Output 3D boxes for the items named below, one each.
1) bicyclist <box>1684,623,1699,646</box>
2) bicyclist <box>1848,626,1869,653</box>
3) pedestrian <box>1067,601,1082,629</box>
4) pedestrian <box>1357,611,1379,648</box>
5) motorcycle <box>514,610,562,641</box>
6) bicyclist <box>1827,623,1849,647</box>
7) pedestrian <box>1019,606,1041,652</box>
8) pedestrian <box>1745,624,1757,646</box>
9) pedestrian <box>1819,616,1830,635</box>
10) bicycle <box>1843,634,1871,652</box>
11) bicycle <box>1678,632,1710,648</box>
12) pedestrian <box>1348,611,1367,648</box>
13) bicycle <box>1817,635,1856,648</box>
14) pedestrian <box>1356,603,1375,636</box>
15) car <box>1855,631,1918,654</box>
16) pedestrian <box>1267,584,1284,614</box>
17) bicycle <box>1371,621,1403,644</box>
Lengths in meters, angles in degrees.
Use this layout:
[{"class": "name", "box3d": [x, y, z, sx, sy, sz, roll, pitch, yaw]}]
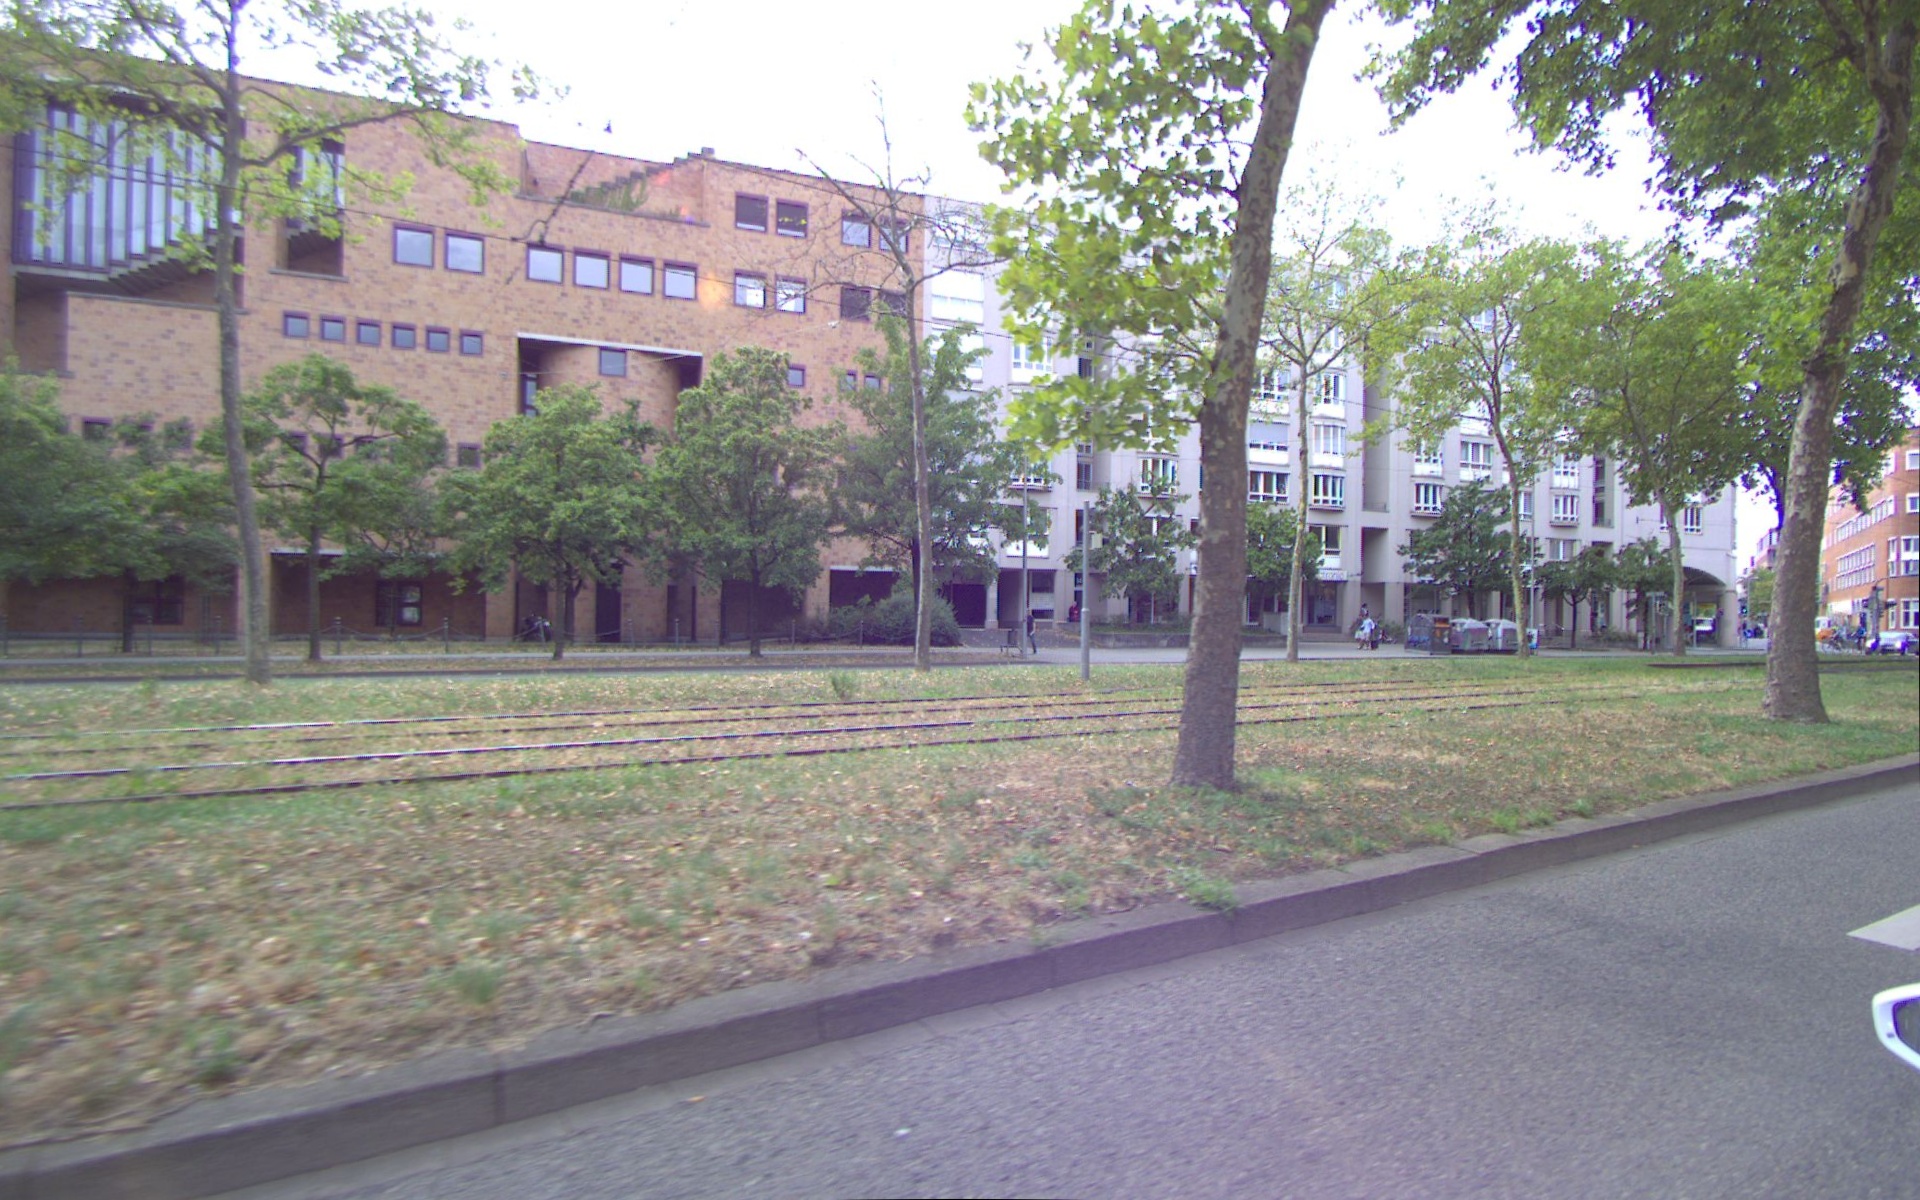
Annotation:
[{"class": "bicyclist", "box3d": [54.185, 2.554, 74.376, 0.769, 1.695, 0.573, 1, 0, 22]}, {"class": "bicyclist", "box3d": [57.966, 2.533, 64.816, 0.940, 1.695, 0.688, 1, 0, -25]}, {"class": "pedestrian", "box3d": [5.579, 0.723, 49.035, 0.546, 1.340, 0.456, 1, 0, -21]}, {"class": "pedestrian", "box3d": [19.239, 1.395, 47.377, 0.873, 1.728, 0.550, 1, 0, -28]}, {"class": "motorcycle", "box3d": [-17.310, 1.025, 41.182, 2.161, 1.207, 0.794, 0, -1, 36]}, {"class": "bicyclist", "box3d": [60.644, 2.412, 69.397, 1.014, 1.583, 0.582, 1, -1, 22]}, {"class": "pedestrian", "box3d": [2.627, 1.092, 37.925, 0.618, 1.728, 0.550, 1, 0, -27]}, {"class": "pedestrian", "box3d": [72.367, 3.218, 91.878, 0.779, 1.990, 0.803, 1, -1, 34]}, {"class": "pedestrian", "box3d": [82.664, 2.424, 96.080, 0.682, 1.841, 0.654, 1, -1, 32]}, {"class": "bicycle", "box3d": [57.815, 2.776, 64.747, 1.851, 1.106, 0.689, 1, 0, -25]}, {"class": "bicycle", "box3d": [54.307, 2.940, 74.318, 1.840, 1.106, 0.578, 1, 0, 22]}, {"class": "pedestrian", "box3d": [18.968, 1.403, 47.907, 0.618, 1.728, 0.550, 1, 0, -27]}, {"class": "bicycle", "box3d": [60.551, 2.858, 69.411, 1.949, 0.847, 0.579, 1, 0, 22]}, {"class": "pedestrian", "box3d": [22.799, 1.100, 56.484, 0.682, 1.833, 0.768, 1, 0, -22]}, {"class": "car", "box3d": [54.765, 2.520, 59.355, 4.485, 1.261, 1.719, 1, -1, -33]}, {"class": "pedestrian", "box3d": [17.943, -0.056, 57.075, 0.650, 1.694, 0.635, 1, 0, -23]}, {"class": "bicycle", "box3d": [23.284, 1.767, 54.751, 1.814, 1.228, 0.532, 1, 0, -25]}]
